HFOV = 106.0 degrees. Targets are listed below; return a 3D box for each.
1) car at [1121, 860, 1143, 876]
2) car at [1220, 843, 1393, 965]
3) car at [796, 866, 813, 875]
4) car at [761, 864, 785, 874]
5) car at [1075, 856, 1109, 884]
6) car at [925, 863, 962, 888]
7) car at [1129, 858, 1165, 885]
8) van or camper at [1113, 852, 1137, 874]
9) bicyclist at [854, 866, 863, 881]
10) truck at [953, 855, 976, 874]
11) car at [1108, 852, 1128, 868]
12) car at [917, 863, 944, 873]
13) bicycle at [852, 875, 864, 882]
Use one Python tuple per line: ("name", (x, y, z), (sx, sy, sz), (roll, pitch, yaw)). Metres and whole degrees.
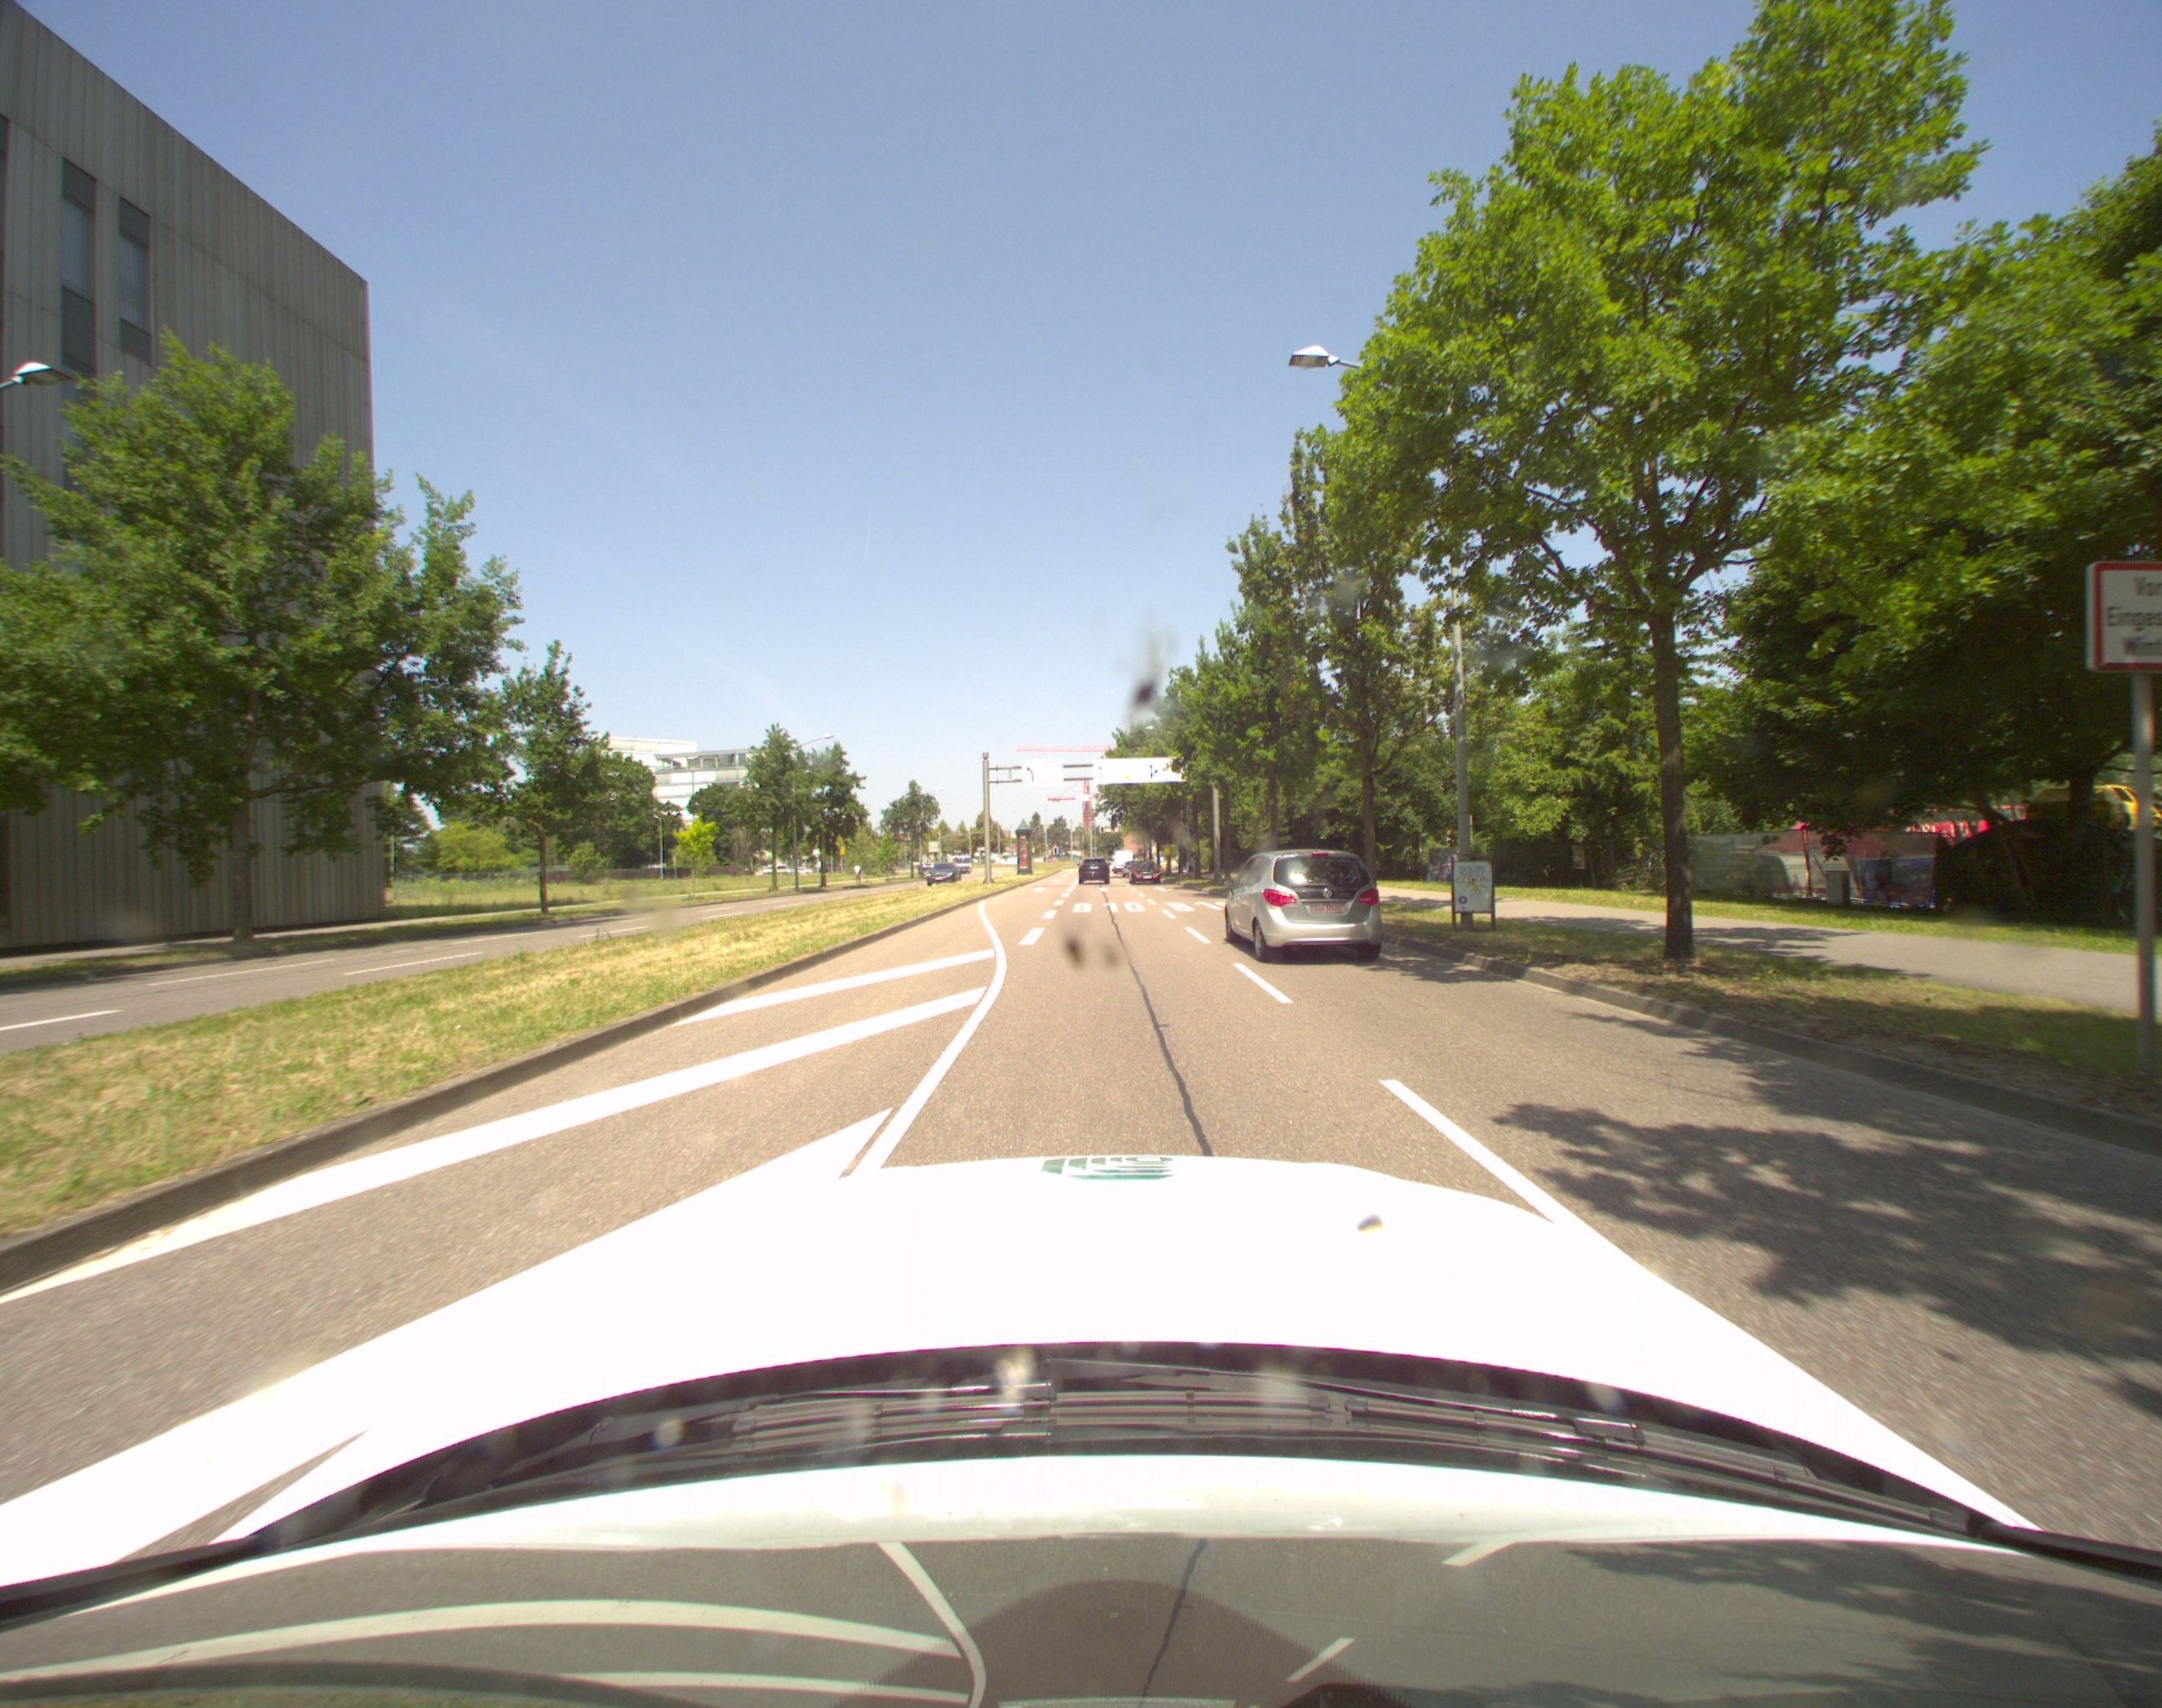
("car", (4.701, 1.309, 75.560), (1.649, 1.356, 4.460), (-2, 0, 0))
("car", (3.356, 0.664, 12.874), (1.785, 1.612, 3.893), (-1, 0, 2))
("car", (-69.627, 4.178, 204.869), (4.001, 1.816, 1.986), (-2, -8, -20))
("car", (-63.622, 3.124, 168.029), (1.974, 1.878, 4.316), (-2, -1, 30))
("car", (0.733, 0.960, 50.951), (1.990, 1.689, 4.036), (-1, 0, 2))
("car", (-9.676, 1.485, 57.665), (1.887, 1.610, 4.532), (-2, 0, -1))
("car", (3.998, 1.053, 49.731), (2.006, 1.517, 4.464), (-2, 0, 3))
("van or camper", (4.815, 0.950, 90.317), (2.484, 2.291, 4.922), (-2, 0, 1))
("bicyclist", (-22.616, 1.950, 82.882), (0.620, 1.489, 0.758), (-2, 0, 4))
("truck", (-16.673, 1.491, 116.997), (2.633, 2.576, 6.310), (-2, 0, -3))
("car", (4.736, 0.773, 105.664), (1.991, 2.013, 3.992), (-2, 0, -6))
("car", (-24.603, 2.327, 133.287), (3.972, 1.453, 2.001), (-2, -1, 1))
("bicycle", (-22.637, 2.472, 82.697), (0.479, 0.715, 1.852), (-2, 0, 4))
